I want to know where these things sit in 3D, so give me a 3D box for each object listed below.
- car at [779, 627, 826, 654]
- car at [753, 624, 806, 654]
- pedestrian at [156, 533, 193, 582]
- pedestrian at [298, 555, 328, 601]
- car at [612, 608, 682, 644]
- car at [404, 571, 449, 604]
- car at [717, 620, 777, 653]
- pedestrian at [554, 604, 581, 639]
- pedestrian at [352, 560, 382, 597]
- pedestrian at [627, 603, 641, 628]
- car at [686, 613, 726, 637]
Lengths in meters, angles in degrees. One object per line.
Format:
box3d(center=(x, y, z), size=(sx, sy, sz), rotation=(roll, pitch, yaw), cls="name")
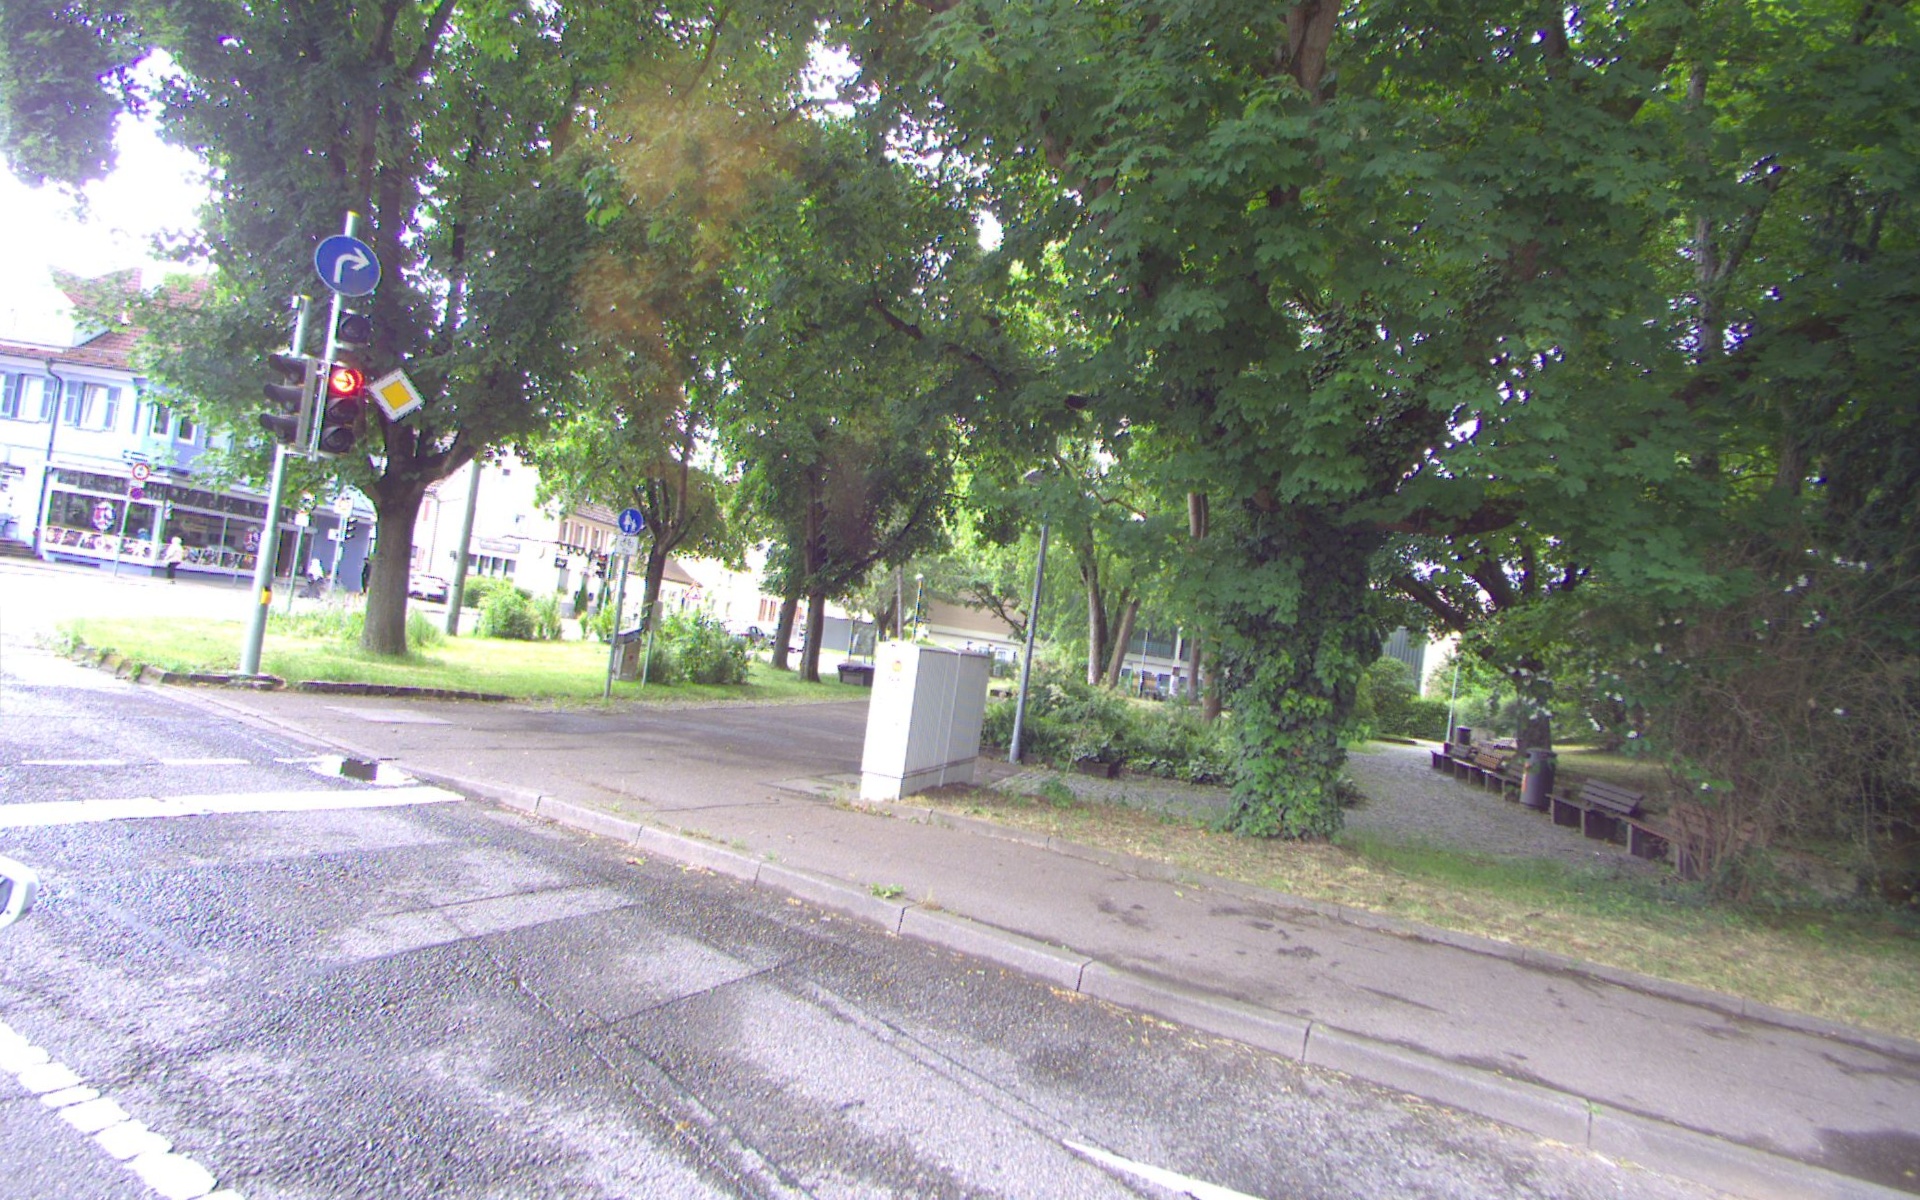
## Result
box3d(center=(-10.281, 2.656, 66.040), size=(1.618, 1.474, 3.740), rotation=(7, -2, 13), cls="car")
box3d(center=(-10.706, 2.339, 59.909), size=(1.618, 1.474, 3.740), rotation=(7, -2, 13), cls="car")
box3d(center=(-27.158, -1.455, 34.780), size=(0.725, 1.578, 0.763), rotation=(7, -1, -27), cls="pedestrian")
box3d(center=(-23.697, -0.807, 36.866), size=(0.688, 1.578, 0.662), rotation=(7, -1, -27), cls="pedestrian")
box3d(center=(-13.663, 1.147, 44.062), size=(1.436, 1.282, 3.014), rotation=(7, -2, 13), cls="car")
box3d(center=(-28.180, -0.691, 53.161), size=(1.870, 1.406, 3.589), rotation=(9, -2, -28), cls="car")
box3d(center=(-11.569, 2.016, 54.935), size=(1.618, 1.474, 3.740), rotation=(7, -2, 13), cls="car")
box3d(center=(-12.913, 0.710, 33.136), size=(0.506, 1.093, 0.507), rotation=(6, -1, 17), cls="pedestrian")
box3d(center=(-26.707, -0.967, 45.331), size=(0.732, 1.578, 0.673), rotation=(6, -1, 17), cls="pedestrian")
box3d(center=(-21.685, 1.058, 66.885), size=(0.500, 1.578, 0.505), rotation=(6, -1, 17), cls="pedestrian")
box3d(center=(-19.012, 1.889, 75.389), size=(1.736, 1.463, 3.865), rotation=(7, -2, 2), cls="car")
